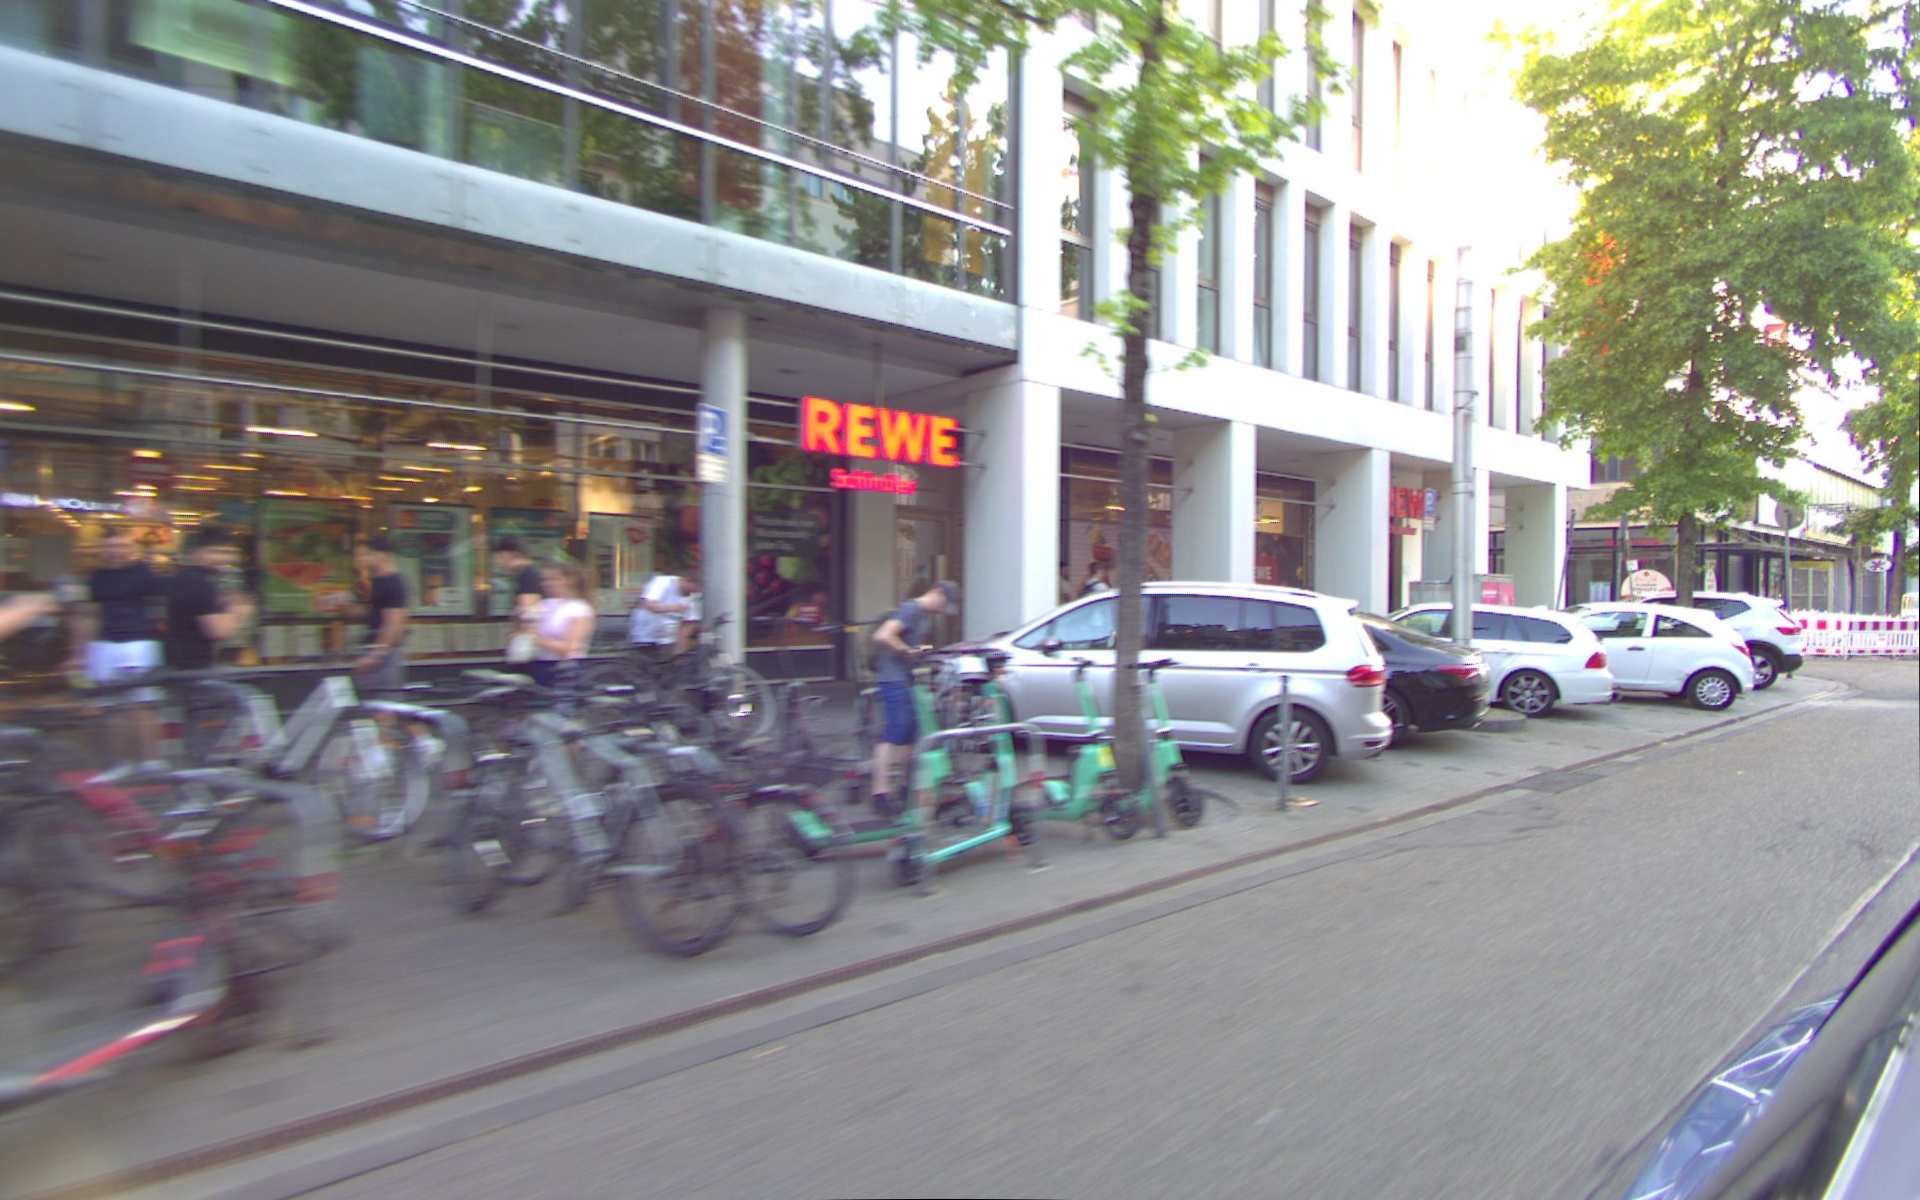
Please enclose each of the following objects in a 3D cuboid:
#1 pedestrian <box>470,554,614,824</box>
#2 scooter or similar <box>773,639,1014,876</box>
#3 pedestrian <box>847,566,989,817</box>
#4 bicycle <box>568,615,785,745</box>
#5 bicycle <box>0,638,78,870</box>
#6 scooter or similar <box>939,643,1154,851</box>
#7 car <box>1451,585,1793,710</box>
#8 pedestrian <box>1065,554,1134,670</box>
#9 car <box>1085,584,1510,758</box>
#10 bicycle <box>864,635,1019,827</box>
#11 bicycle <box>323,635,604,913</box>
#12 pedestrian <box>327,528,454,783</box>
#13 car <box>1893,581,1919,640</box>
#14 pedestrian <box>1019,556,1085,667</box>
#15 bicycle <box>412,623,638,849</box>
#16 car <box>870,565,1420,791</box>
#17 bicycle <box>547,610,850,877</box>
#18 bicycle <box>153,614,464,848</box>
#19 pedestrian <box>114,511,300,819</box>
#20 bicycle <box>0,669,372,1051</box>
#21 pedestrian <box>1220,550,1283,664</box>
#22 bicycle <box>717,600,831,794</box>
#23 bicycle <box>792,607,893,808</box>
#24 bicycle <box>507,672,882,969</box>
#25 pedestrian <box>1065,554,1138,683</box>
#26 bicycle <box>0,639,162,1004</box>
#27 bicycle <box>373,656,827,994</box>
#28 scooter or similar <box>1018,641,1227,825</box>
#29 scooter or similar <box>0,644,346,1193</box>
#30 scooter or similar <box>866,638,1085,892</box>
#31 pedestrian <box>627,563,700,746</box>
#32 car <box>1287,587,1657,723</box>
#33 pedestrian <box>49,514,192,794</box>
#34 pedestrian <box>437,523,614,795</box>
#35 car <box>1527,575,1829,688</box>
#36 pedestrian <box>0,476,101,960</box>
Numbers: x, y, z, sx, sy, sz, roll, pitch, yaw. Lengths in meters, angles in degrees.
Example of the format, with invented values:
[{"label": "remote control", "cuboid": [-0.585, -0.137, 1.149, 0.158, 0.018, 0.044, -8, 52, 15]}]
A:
[{"label": "pedestrian", "cuboid": [-2.678, 0.539, 6.548, 0.647, 1.644, 0.707, 1, 1, -4]}, {"label": "scooter or similar", "cuboid": [-0.391, 0.865, 5.938, 1.255, 1.220, 0.571, 1, 2, -25]}, {"label": "pedestrian", "cuboid": [-0.313, 0.598, 7.150, 0.753, 1.646, 0.794, 1, 1, -21]}, {"label": "bicycle", "cuboid": [-2.584, 0.708, 9.297, 1.844, 1.096, 0.575, 1, 2, -17]}, {"label": "bicycle", "cuboid": [-5.623, 0.761, 5.244, 1.810, 1.108, 0.819, 2, 1, 20]}, {"label": "scooter or similar", "cuboid": [0.564, 0.904, 6.511, 1.312, 1.196, 0.497, 1, 0, 14]}, {"label": "car", "cuboid": [9.888, 0.627, 15.541, 4.020, 1.519, 1.784, 3, 3, 22]}, {"label": "pedestrian", "cuboid": [2.145, 0.187, 15.550, 0.791, 1.721, 0.681, 2, -2, -40]}, {"label": "car", "cuboid": [3.810, 0.651, 11.596, 4.313, 1.440, 1.936, 3, 3, 29]}, {"label": "bicycle", "cuboid": [-0.073, 0.868, 7.405, 0.622, 1.089, 1.871, 3, 1, 15]}, {"label": "bicycle", "cuboid": [-2.631, 0.824, 5.294, 1.674, 1.153, 0.473, 3, 1, 31]}, {"label": "pedestrian", "cuboid": [-4.254, 0.375, 7.549, 0.718, 1.775, 0.716, 1, 2, -38]}, {"label": "car", "cuboid": [31.350, 0.359, 31.949, 4.584, 1.792, 2.000, 0, 3, -38]}, {"label": "pedestrian", "cuboid": [1.474, 0.188, 16.187, 0.791, 1.721, 0.681, 2, -2, -40]}, {"label": "bicycle", "cuboid": [-2.783, 0.782, 6.393, 1.685, 1.164, 0.495, 3, 2, 36]}, {"label": "car", "cuboid": [1.653, 0.569, 9.609, 4.609, 1.660, 1.946, 2, 2, 16]}, {"label": "bicycle", "cuboid": [-1.598, 0.755, 6.060, 1.820, 1.289, 0.673, 3, 1, 33]}, {"label": "bicycle", "cuboid": [-3.907, 0.734, 6.084, 1.670, 1.204, 0.553, 3, 1, 13]}, {"label": "pedestrian", "cuboid": [-4.722, 0.383, 6.388, 0.702, 1.835, 0.661, 1, 1, -9]}, {"label": "bicycle", "cuboid": [-3.271, 0.910, 3.974, 1.810, 1.089, 0.620, 3, 1, 19]}, {"label": "pedestrian", "cuboid": [5.040, 0.121, 17.503, 0.669, 1.920, 0.805, 2, -2, -38]}, {"label": "bicycle", "cuboid": [-1.418, 0.685, 7.948, 0.569, 1.304, 1.595, 2, 1, 0]}, {"label": "bicycle", "cuboid": [-0.837, 0.725, 7.580, 0.628, 1.265, 1.664, 2, 1, -4]}, {"label": "bicycle", "cuboid": [-1.269, 0.961, 4.775, 1.728, 1.089, 0.490, 3, 1, 21]}, {"label": "pedestrian", "cuboid": [2.040, 0.264, 14.590, 0.791, 1.794, 0.681, 2, -2, -40]}, {"label": "bicycle", "cuboid": [-4.224, 0.830, 4.301, 1.986, 1.162, 0.690, 3, 2, 33]}, {"label": "bicycle", "cuboid": [-1.655, 0.918, 4.624, 1.969, 1.144, 0.676, 3, 1, 21]}, {"label": "scooter or similar", "cuboid": [1.112, 0.907, 7.129, 1.376, 1.164, 0.579, 1, 0, 4]}, {"label": "scooter or similar", "cuboid": [-2.698, 0.842, 3.038, 0.686, 1.320, 1.388, 1, 1, 12]}, {"label": "scooter or similar", "cuboid": [0.106, 0.872, 5.771, 1.192, 1.237, 0.483, 0, 3, -39]}, {"label": "pedestrian", "cuboid": [-2.705, 0.462, 9.232, 0.618, 1.591, 0.765, 0, 1, -17]}, {"label": "car", "cuboid": [6.991, 0.649, 14.182, 4.312, 1.440, 1.811, 3, 3, 29]}, {"label": "pedestrian", "cuboid": [-5.860, 0.343, 7.106, 0.703, 1.835, 0.660, 1, 2, -35]}, {"label": "pedestrian", "cuboid": [-3.108, 0.394, 7.331, 0.919, 1.835, 0.888, 1, 1, -4]}, {"label": "car", "cuboid": [13.067, 0.485, 18.813, 4.231, 1.692, 1.935, 3, 3, 27]}, {"label": "pedestrian", "cuboid": [-4.265, 0.448, 4.219, 0.948, 1.937, 0.850, 4, 2, 39]}]
